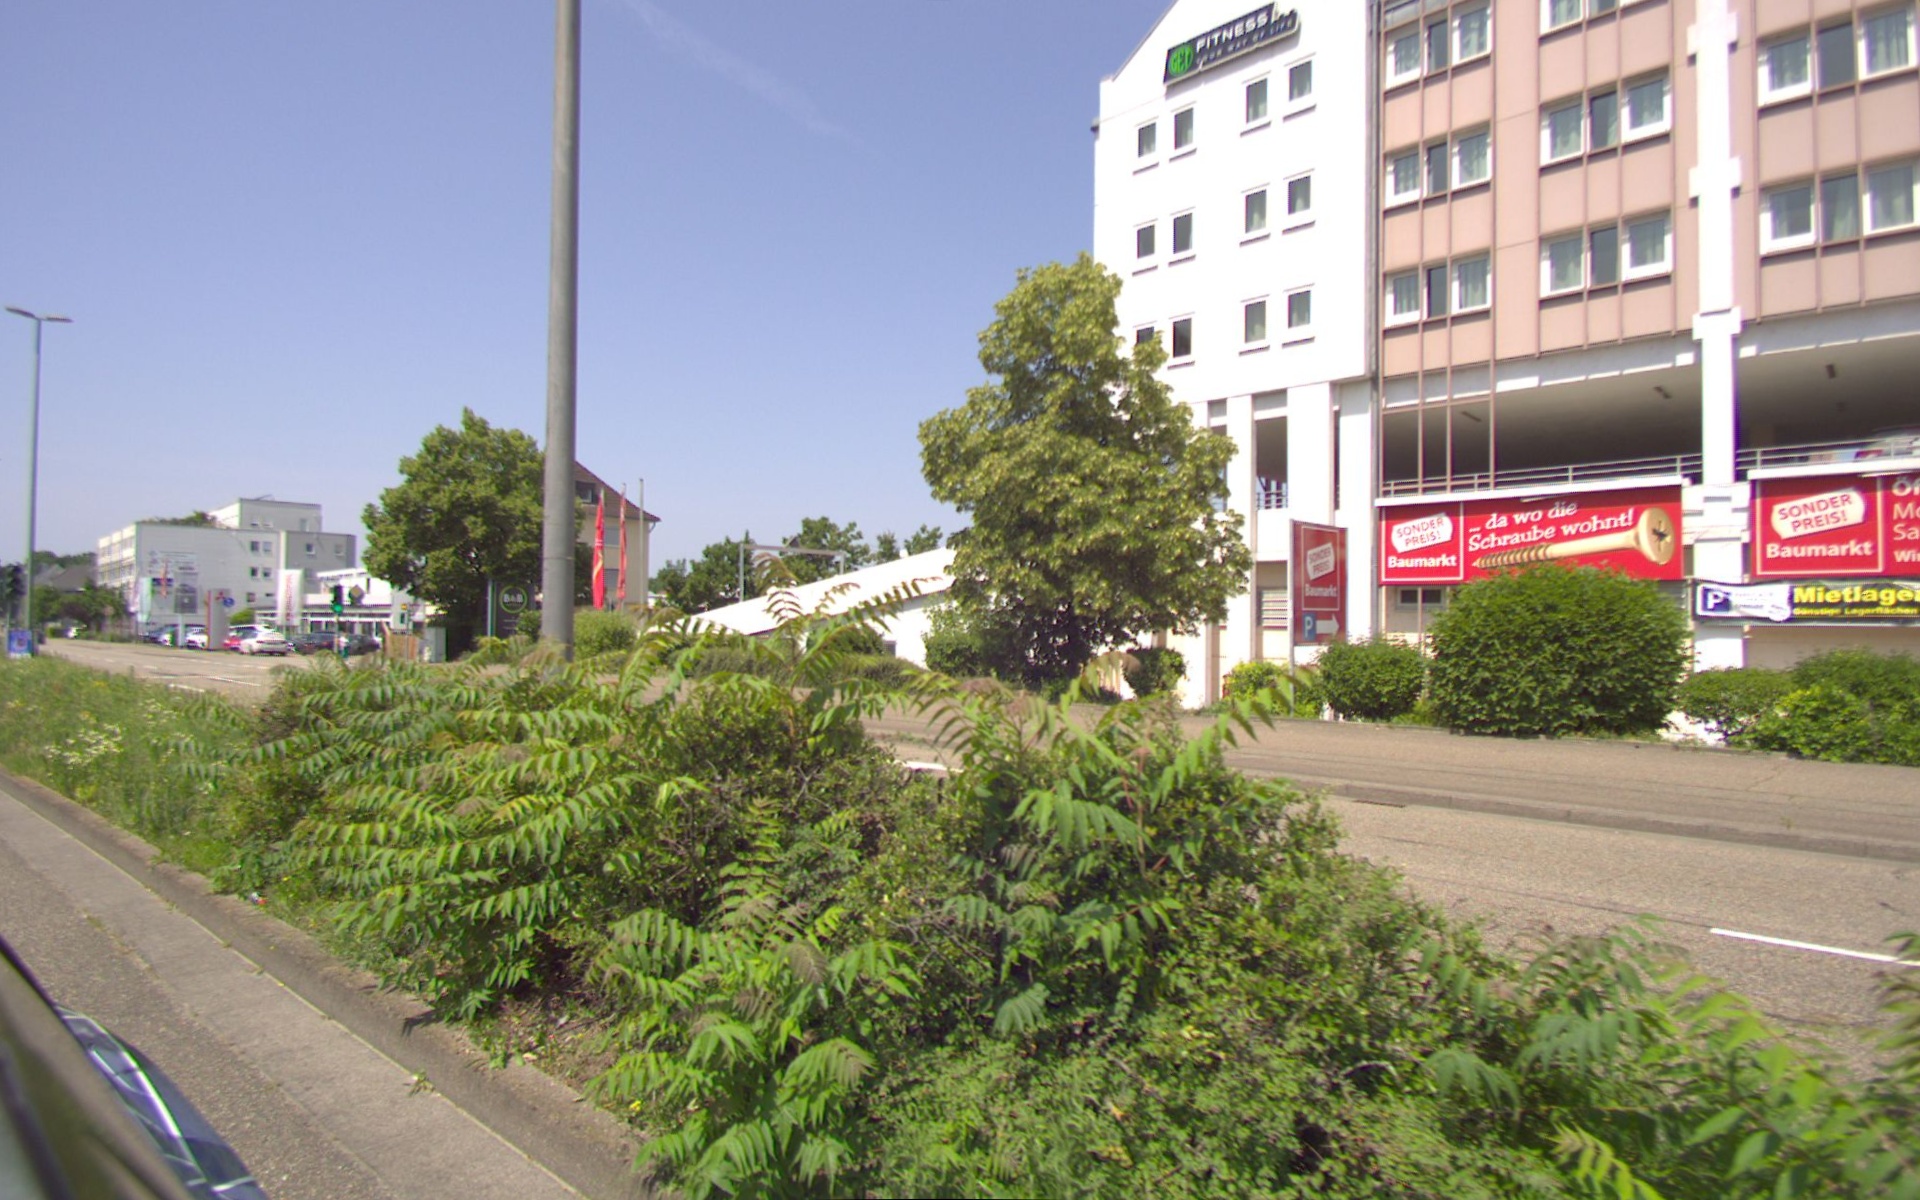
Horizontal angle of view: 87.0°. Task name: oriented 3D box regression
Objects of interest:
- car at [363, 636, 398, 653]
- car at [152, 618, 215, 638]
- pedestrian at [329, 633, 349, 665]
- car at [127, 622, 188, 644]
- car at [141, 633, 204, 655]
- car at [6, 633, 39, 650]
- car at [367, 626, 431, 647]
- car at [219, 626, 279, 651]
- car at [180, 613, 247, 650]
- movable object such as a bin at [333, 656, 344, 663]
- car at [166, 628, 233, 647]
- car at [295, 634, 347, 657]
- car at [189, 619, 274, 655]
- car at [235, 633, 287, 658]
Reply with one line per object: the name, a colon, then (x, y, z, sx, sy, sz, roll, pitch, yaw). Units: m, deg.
car: (-43.799, 3.379, 76.566, 1.622, 1.261, 4.013, 1, -2, -20)
car: (-63.855, 2.332, 83.264, 3.940, 1.621, 1.927, 2, -3, -44)
pedestrian: (-35.045, 2.758, 57.100, 0.732, 1.760, 1.034, 2, -3, -44)
car: (-72.102, 2.967, 90.946, 2.000, 1.896, 3.944, -1, -2, 42)
car: (-67.724, 3.790, 87.095, 1.759, 1.621, 3.944, -1, -6, 42)
car: (-87.580, 3.847, 94.566, 4.502, 1.497, 1.971, -1, -3, 44)
car: (-43.549, 2.847, 78.590, 1.866, 1.627, 3.943, -1, -3, 43)
car: (-48.451, 2.632, 69.090, 1.809, 1.655, 4.188, 1, -2, -12)
car: (-57.203, 2.382, 77.637, 1.739, 1.632, 3.999, 1, 16, 7)
movable object such as a bin: (-35.230, 3.353, 57.346, 0.411, 0.375, 0.507, 2, -3, -45)
car: (-59.444, 2.928, 79.129, 1.860, 1.405, 3.944, -1, -2, 42)
car: (-40.214, 2.860, 63.661, 3.998, 1.361, 1.714, -1, -3, 41)
car: (-51.723, 2.594, 71.928, 1.761, 1.720, 4.500, -1, 8, 44)
car: (-43.034, 2.779, 62.261, 4.760, 1.421, 1.756, -2, -4, 44)
